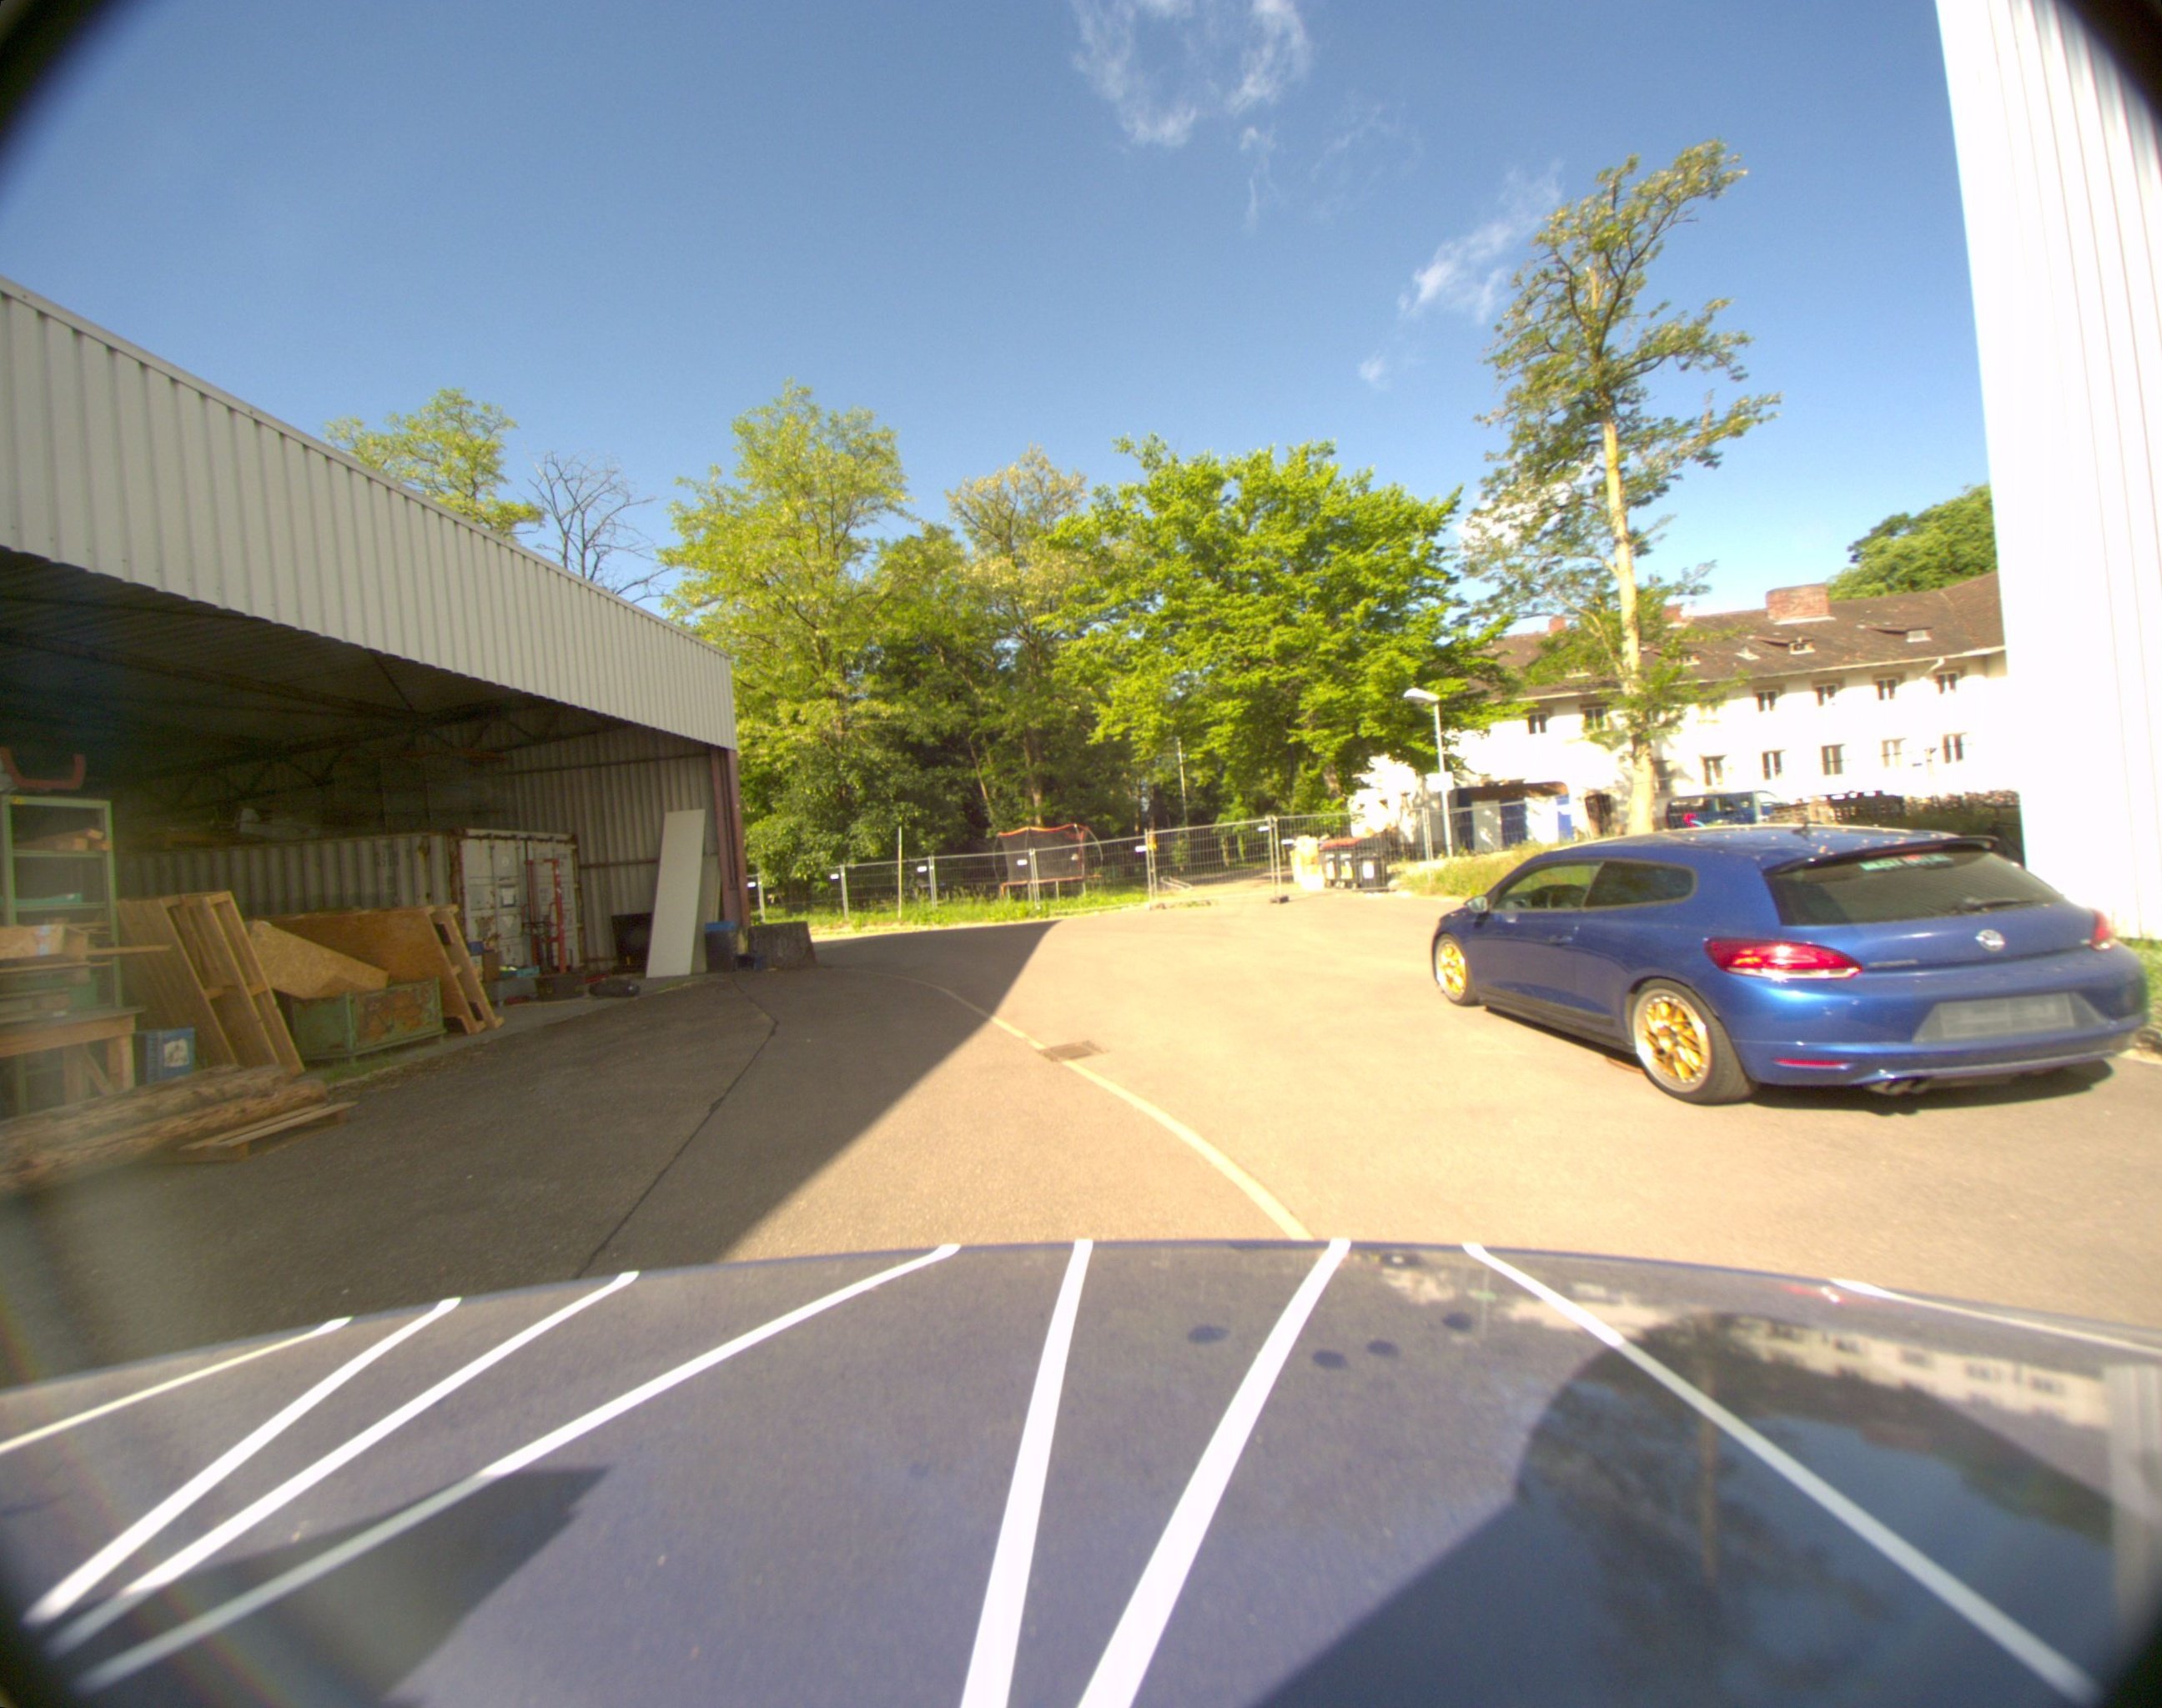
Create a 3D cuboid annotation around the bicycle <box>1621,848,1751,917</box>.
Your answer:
[{"bbox_3d":[9.655,0.436,12.222,0.482,0.981,1.835,-6,0,-2],"label":"bicycle"}]

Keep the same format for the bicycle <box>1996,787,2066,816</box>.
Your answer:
[{"bbox_3d":[41.031,-2.250,32.855,0.795,1.126,1.844,-6,2,8],"label":"bicycle"}]

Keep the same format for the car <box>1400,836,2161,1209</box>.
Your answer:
[{"bbox_3d":[3.860,0.693,5.076,1.778,1.352,4.054,-6,0,2],"label":"car"}]

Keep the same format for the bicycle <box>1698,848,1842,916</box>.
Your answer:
[{"bbox_3d":[10.865,0.416,12.081,0.482,0.954,1.834,-6,0,-2],"label":"bicycle"}]

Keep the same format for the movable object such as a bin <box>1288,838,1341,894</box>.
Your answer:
[{"bbox_3d":[7.259,0.351,23.684,1.093,1.588,1.230,-5,2,-2],"label":"movable object such as a bin"}]

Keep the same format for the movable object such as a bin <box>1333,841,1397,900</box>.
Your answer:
[{"bbox_3d":[7.611,0.425,20.431,1.093,1.424,1.230,-6,1,-2],"label":"movable object such as a bin"}]

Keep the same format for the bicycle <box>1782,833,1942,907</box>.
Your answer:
[{"bbox_3d":[12.192,0.249,11.958,0.482,1.031,1.831,-6,0,-2],"label":"bicycle"}]

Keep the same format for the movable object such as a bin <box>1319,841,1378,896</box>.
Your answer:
[{"bbox_3d":[7.640,0.410,21.765,1.093,1.431,1.230,-6,1,-2],"label":"movable object such as a bin"}]

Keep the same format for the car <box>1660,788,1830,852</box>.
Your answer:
[{"bbox_3d":[24.785,-1.226,28.667,2.057,2.001,4.874,-6,2,0],"label":"car"}]
